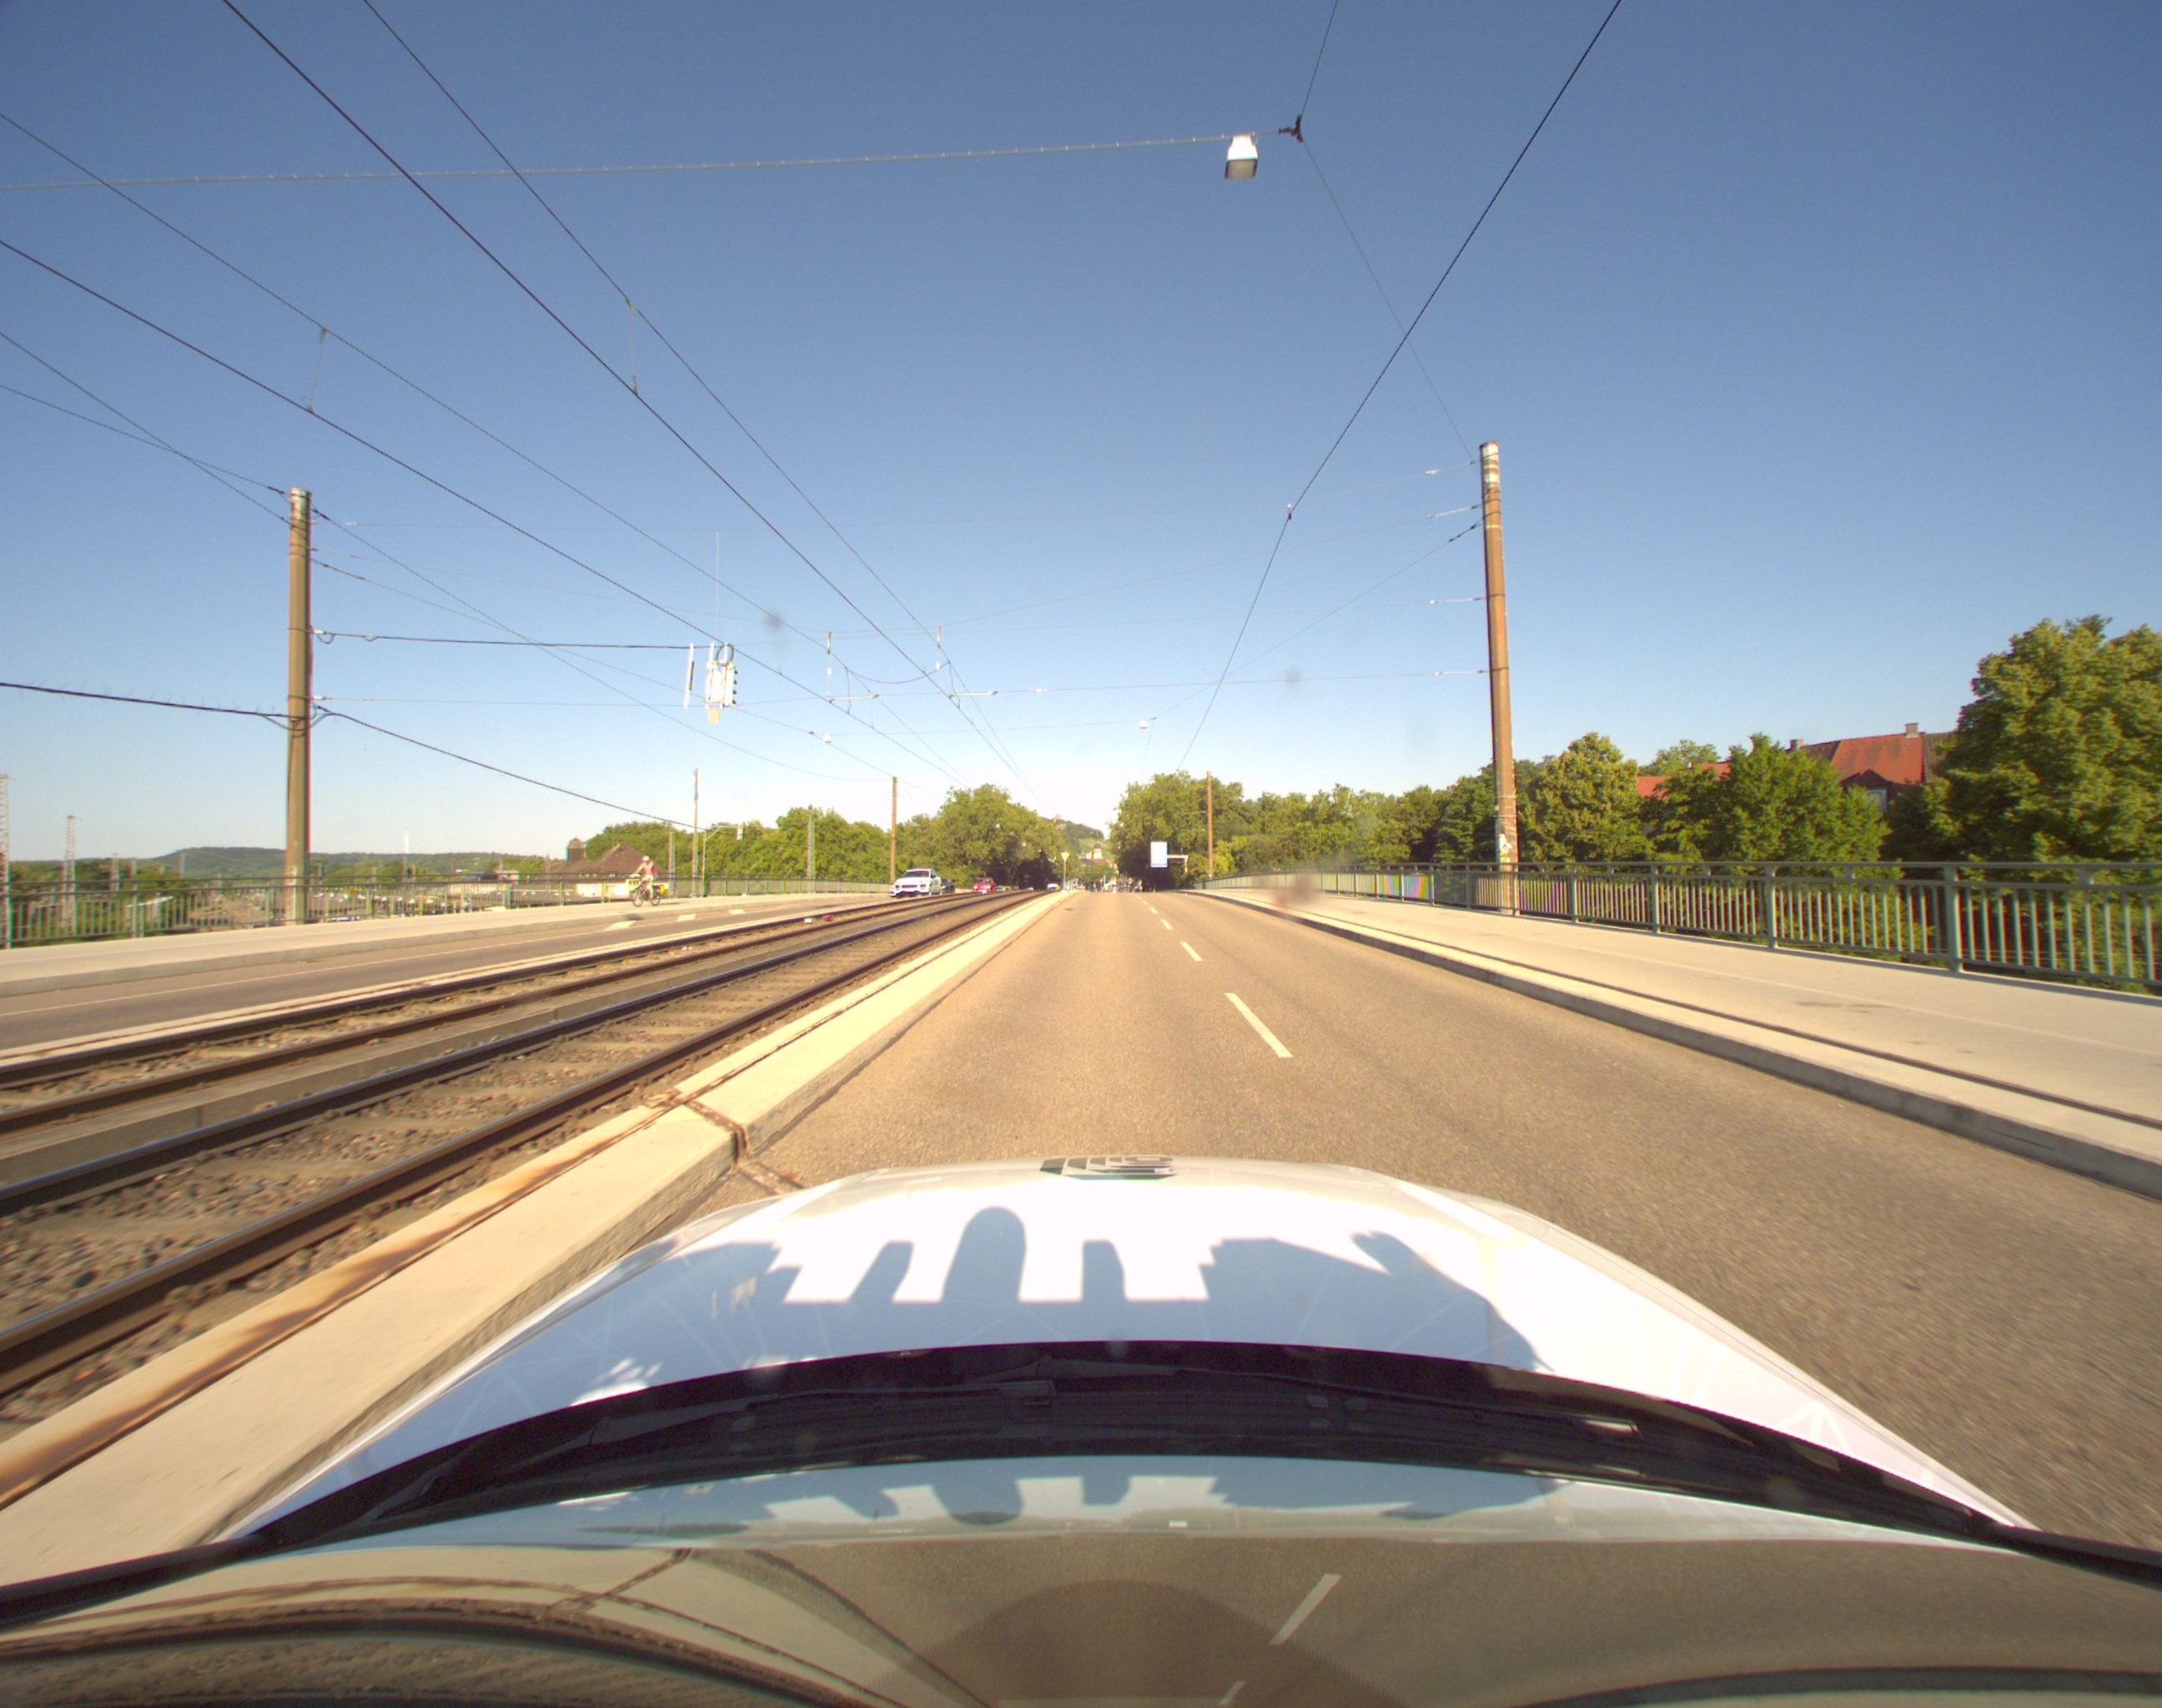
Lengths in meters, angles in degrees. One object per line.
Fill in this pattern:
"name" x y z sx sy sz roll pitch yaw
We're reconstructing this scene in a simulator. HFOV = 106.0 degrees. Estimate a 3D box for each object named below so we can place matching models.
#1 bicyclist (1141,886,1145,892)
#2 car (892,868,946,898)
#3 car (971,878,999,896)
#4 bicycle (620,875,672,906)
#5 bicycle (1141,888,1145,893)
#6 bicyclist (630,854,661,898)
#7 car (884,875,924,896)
"bicyclist" 15.778 8.925 206.942 0.883 1.639 1.164 -1 -3 2
"car" -9.367 1.630 47.507 1.993 1.637 5.091 0 -1 2
"car" -8.468 2.939 72.004 1.801 1.520 4.000 1 -3 2
"bicycle" -16.411 1.354 30.802 0.622 1.122 2.261 0 -1 3
"bicycle" 15.776 9.206 206.829 0.883 1.321 2.640 -1 -3 3
"bicyclist" -16.418 0.812 30.735 0.622 1.633 0.936 0 -1 3
"car" -12.853 2.262 59.316 1.677 1.356 4.921 0 -1 2
